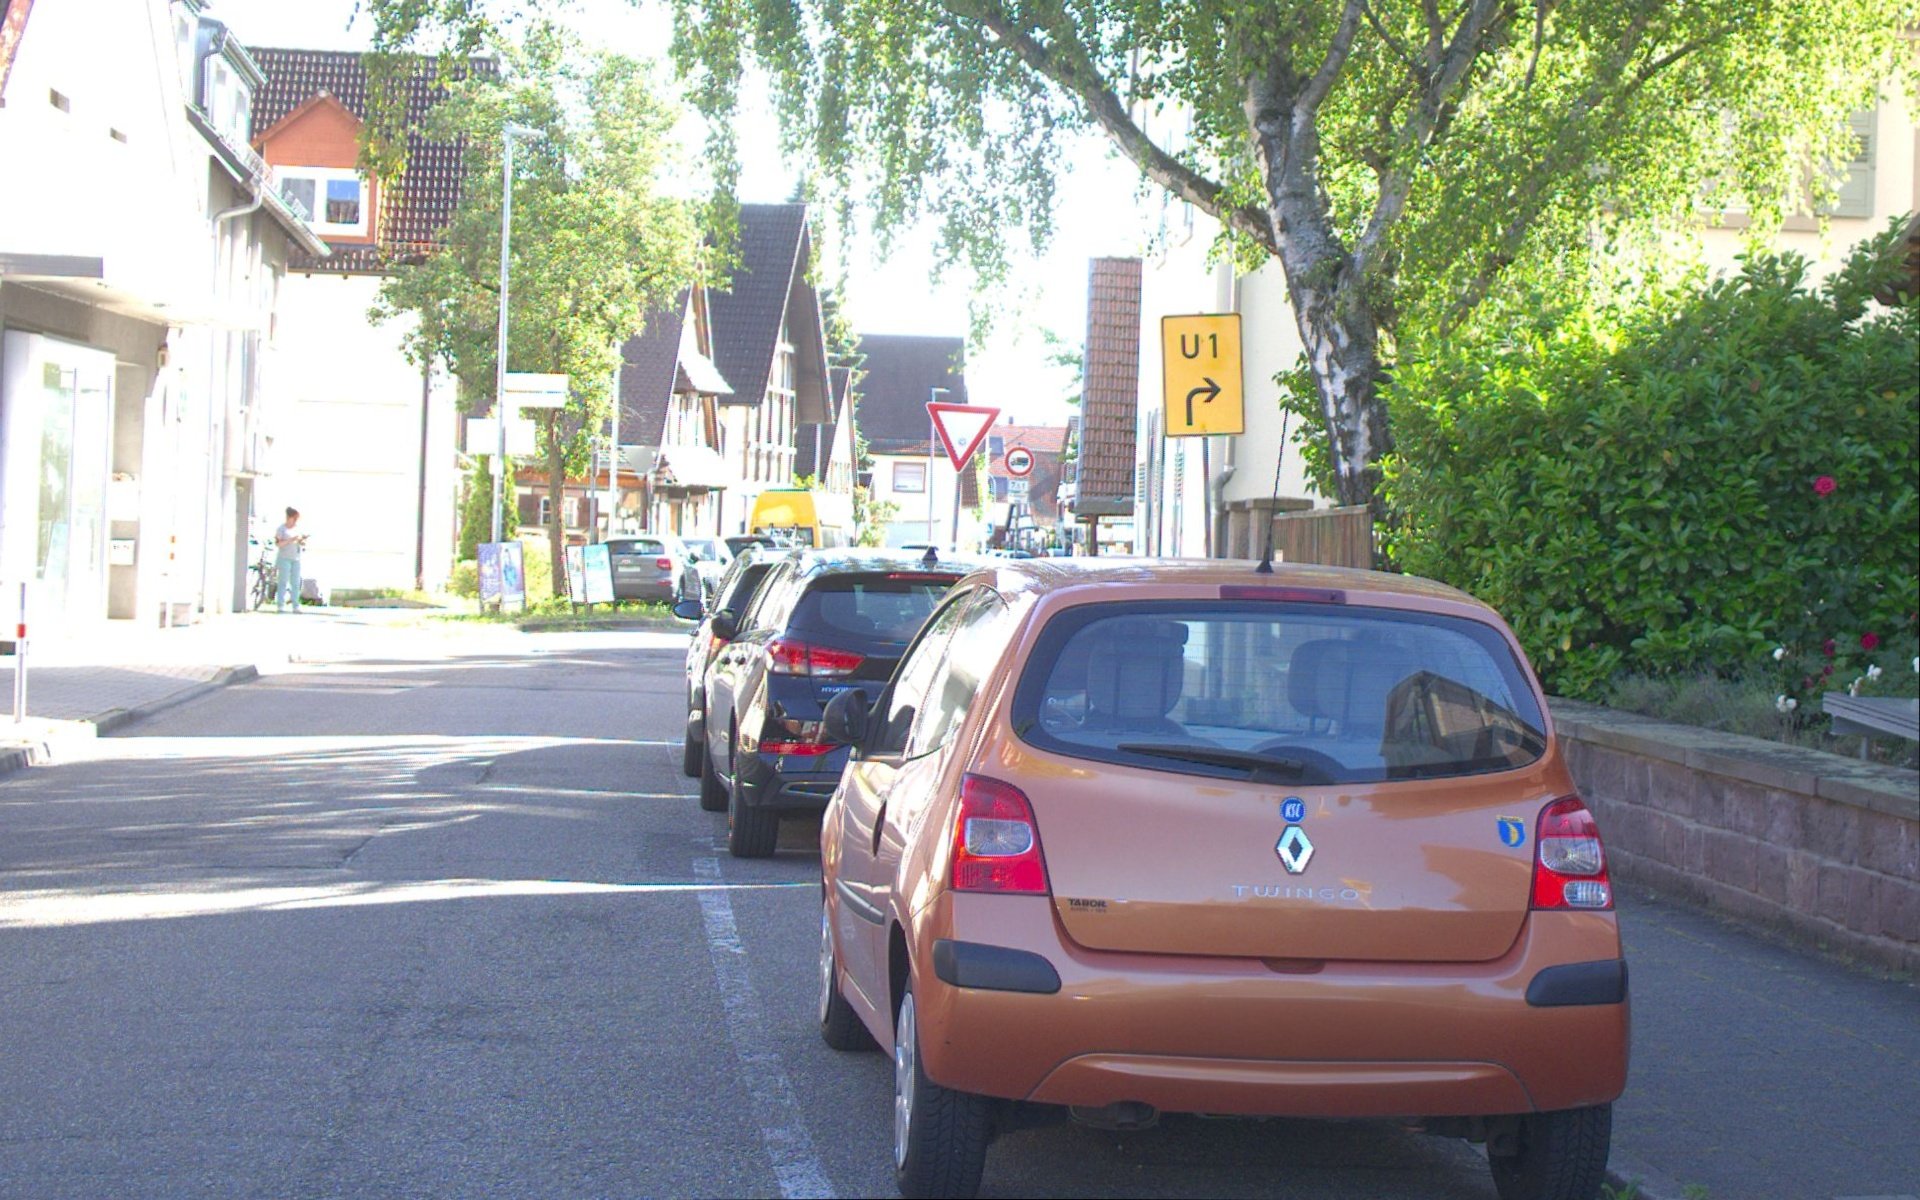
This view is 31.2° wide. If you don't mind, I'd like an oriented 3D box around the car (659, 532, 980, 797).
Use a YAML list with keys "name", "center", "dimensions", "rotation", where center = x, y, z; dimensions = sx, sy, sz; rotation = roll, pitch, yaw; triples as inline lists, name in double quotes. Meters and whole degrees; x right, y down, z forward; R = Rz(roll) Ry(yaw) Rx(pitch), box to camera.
- name: "car"
  center: [-0.924, 0.335, 22.157]
  dimensions: [1.807, 1.431, 4.286]
  rotation: [2, 2, -3]

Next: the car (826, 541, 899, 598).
- name: "car"
  center: [-2.624, -0.824, 92.854]
  dimensions: [1.645, 1.428, 3.614]
  rotation: [3, 1, 3]

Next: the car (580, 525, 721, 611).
- name: "car"
  center: [-5.815, -0.594, 65.102]
  dimensions: [1.868, 1.500, 4.106]
  rotation: [2, 0, 6]

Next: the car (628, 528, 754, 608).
- name: "car"
  center: [-5.400, -0.644, 69.474]
  dimensions: [1.807, 1.500, 4.106]
  rotation: [2, 0, 6]

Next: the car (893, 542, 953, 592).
- name: "car"
  center: [-1.127, -1.020, 106.050]
  dimensions: [1.588, 1.438, 3.614]
  rotation: [3, 1, 3]

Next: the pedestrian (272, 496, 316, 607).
- name: "pedestrian"
  center: [-10.274, -0.742, 53.075]
  dimensions: [0.483, 1.687, 0.557]
  rotation: [3, -1, 1]

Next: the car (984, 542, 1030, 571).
- name: "car"
  center: [2.706, -2.516, 198.740]
  dimensions: [1.972, 1.577, 3.996]
  rotation: [2, 1, -9]

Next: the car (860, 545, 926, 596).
- name: "car"
  center: [-1.875, -0.841, 97.443]
  dimensions: [1.588, 1.331, 3.614]
  rotation: [3, 1, 3]

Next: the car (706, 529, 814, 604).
- name: "car"
  center: [-4.536, -0.752, 78.365]
  dimensions: [1.807, 1.616, 3.880]
  rotation: [2, 0, 6]

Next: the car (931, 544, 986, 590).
- name: "car"
  center: [-0.027, -1.094, 113.265]
  dimensions: [1.588, 1.438, 3.614]
  rotation: [3, 1, 3]

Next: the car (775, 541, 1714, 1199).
- name: "car"
  center: [0.493, 0.645, 9.041]
  dimensions: [1.648, 1.473, 3.935]
  rotation: [2, 2, -7]

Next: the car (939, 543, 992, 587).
- name: "car"
  center: [0.198, -1.199, 117.910]
  dimensions: [1.588, 1.438, 3.614]
  rotation: [3, 1, 3]

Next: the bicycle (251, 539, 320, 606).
- name: "bicycle"
  center: [-11.035, -0.445, 56.302]
  dimensions: [0.578, 1.049, 2.036]
  rotation: [2, 0, 4]

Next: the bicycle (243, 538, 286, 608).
- name: "bicycle"
  center: [-10.698, -0.409, 52.898]
  dimensions: [0.423, 1.049, 1.381]
  rotation: [2, 0, -3]

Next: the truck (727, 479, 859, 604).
- name: "truck"
  center: [-4.026, -1.386, 83.961]
  dimensions: [2.268, 2.858, 5.781]
  rotation: [2, 0, 6]

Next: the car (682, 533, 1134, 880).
- name: "car"
  center: [-0.396, 0.441, 17.453]
  dimensions: [1.807, 1.431, 4.287]
  rotation: [2, 2, -7]

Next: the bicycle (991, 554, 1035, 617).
- name: "bicycle"
  center: [1.024, -0.287, 66.472]
  dimensions: [0.433, 1.172, 1.828]
  rotation: [2, 1, 13]
